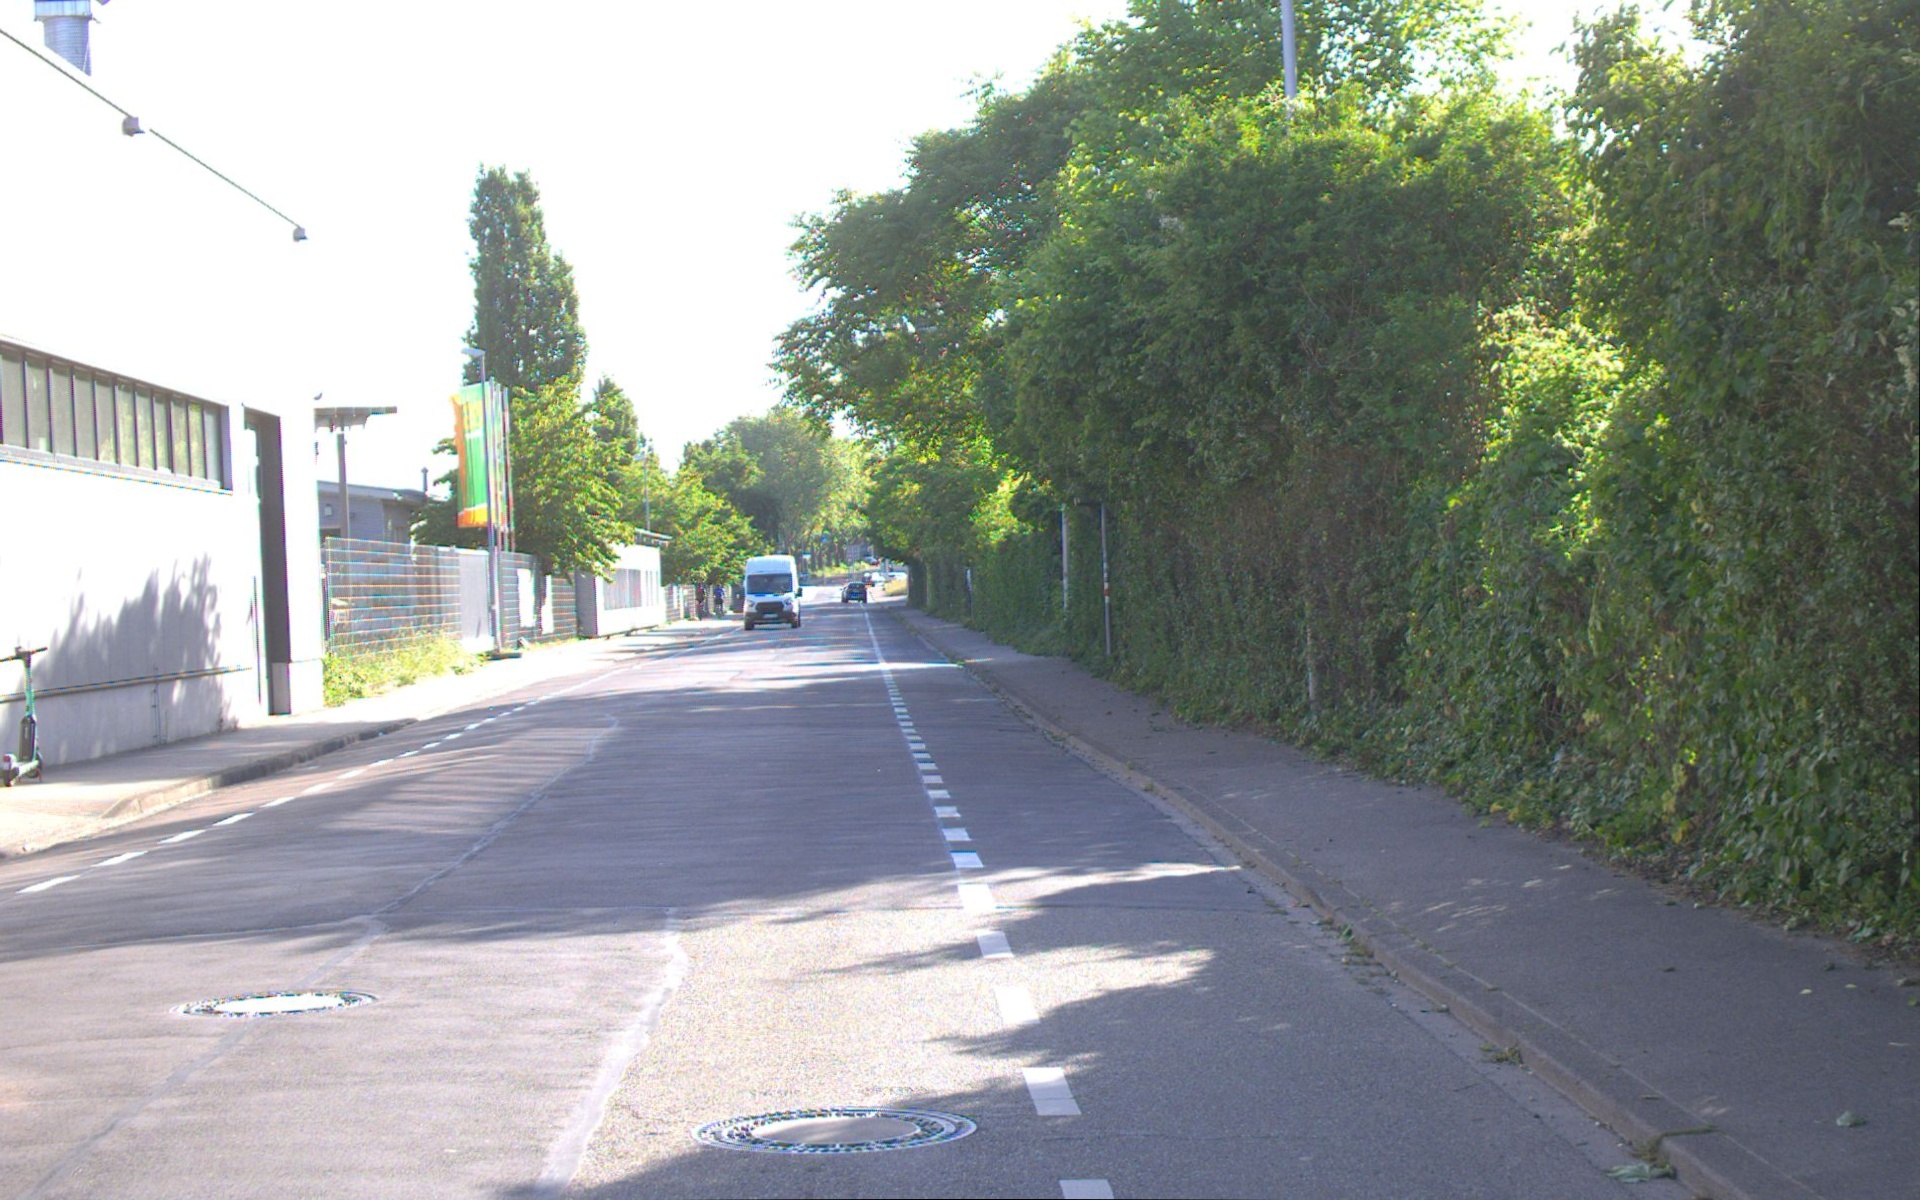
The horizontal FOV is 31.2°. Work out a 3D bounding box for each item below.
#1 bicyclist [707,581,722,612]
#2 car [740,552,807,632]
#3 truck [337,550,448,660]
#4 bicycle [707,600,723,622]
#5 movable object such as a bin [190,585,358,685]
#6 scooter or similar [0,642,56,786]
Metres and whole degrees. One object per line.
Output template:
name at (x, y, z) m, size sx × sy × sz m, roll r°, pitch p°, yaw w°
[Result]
bicyclist at (-12.098, -0.161, 169.527) m, size 0.689 × 1.527 × 0.722 m, roll -1°, pitch 0°, yaw -2°
car at (-7.020, -0.302, 129.937) m, size 2.123 × 2.771 × 5.927 m, roll -5°, pitch 0°, yaw -1°
truck at (-15.129, 0.094, 91.972) m, size 2.078 × 2.752 × 5.765 m, roll -3°, pitch 1°, yaw -2°
bicycle at (-12.089, 0.543, 169.570) m, size 0.689 × 1.030 × 1.351 m, roll -1°, pitch 0°, yaw -2°
movable object such as a bin at (-13.732, 0.687, 68.938) m, size 3.038 × 1.829 × 1.526 m, roll -3°, pitch 1°, yaw -3°
scooter or similar at (-8.563, 1.027, 31.212) m, size 0.416 × 1.263 × 1.060 m, roll -2°, pitch 0°, yaw -2°
